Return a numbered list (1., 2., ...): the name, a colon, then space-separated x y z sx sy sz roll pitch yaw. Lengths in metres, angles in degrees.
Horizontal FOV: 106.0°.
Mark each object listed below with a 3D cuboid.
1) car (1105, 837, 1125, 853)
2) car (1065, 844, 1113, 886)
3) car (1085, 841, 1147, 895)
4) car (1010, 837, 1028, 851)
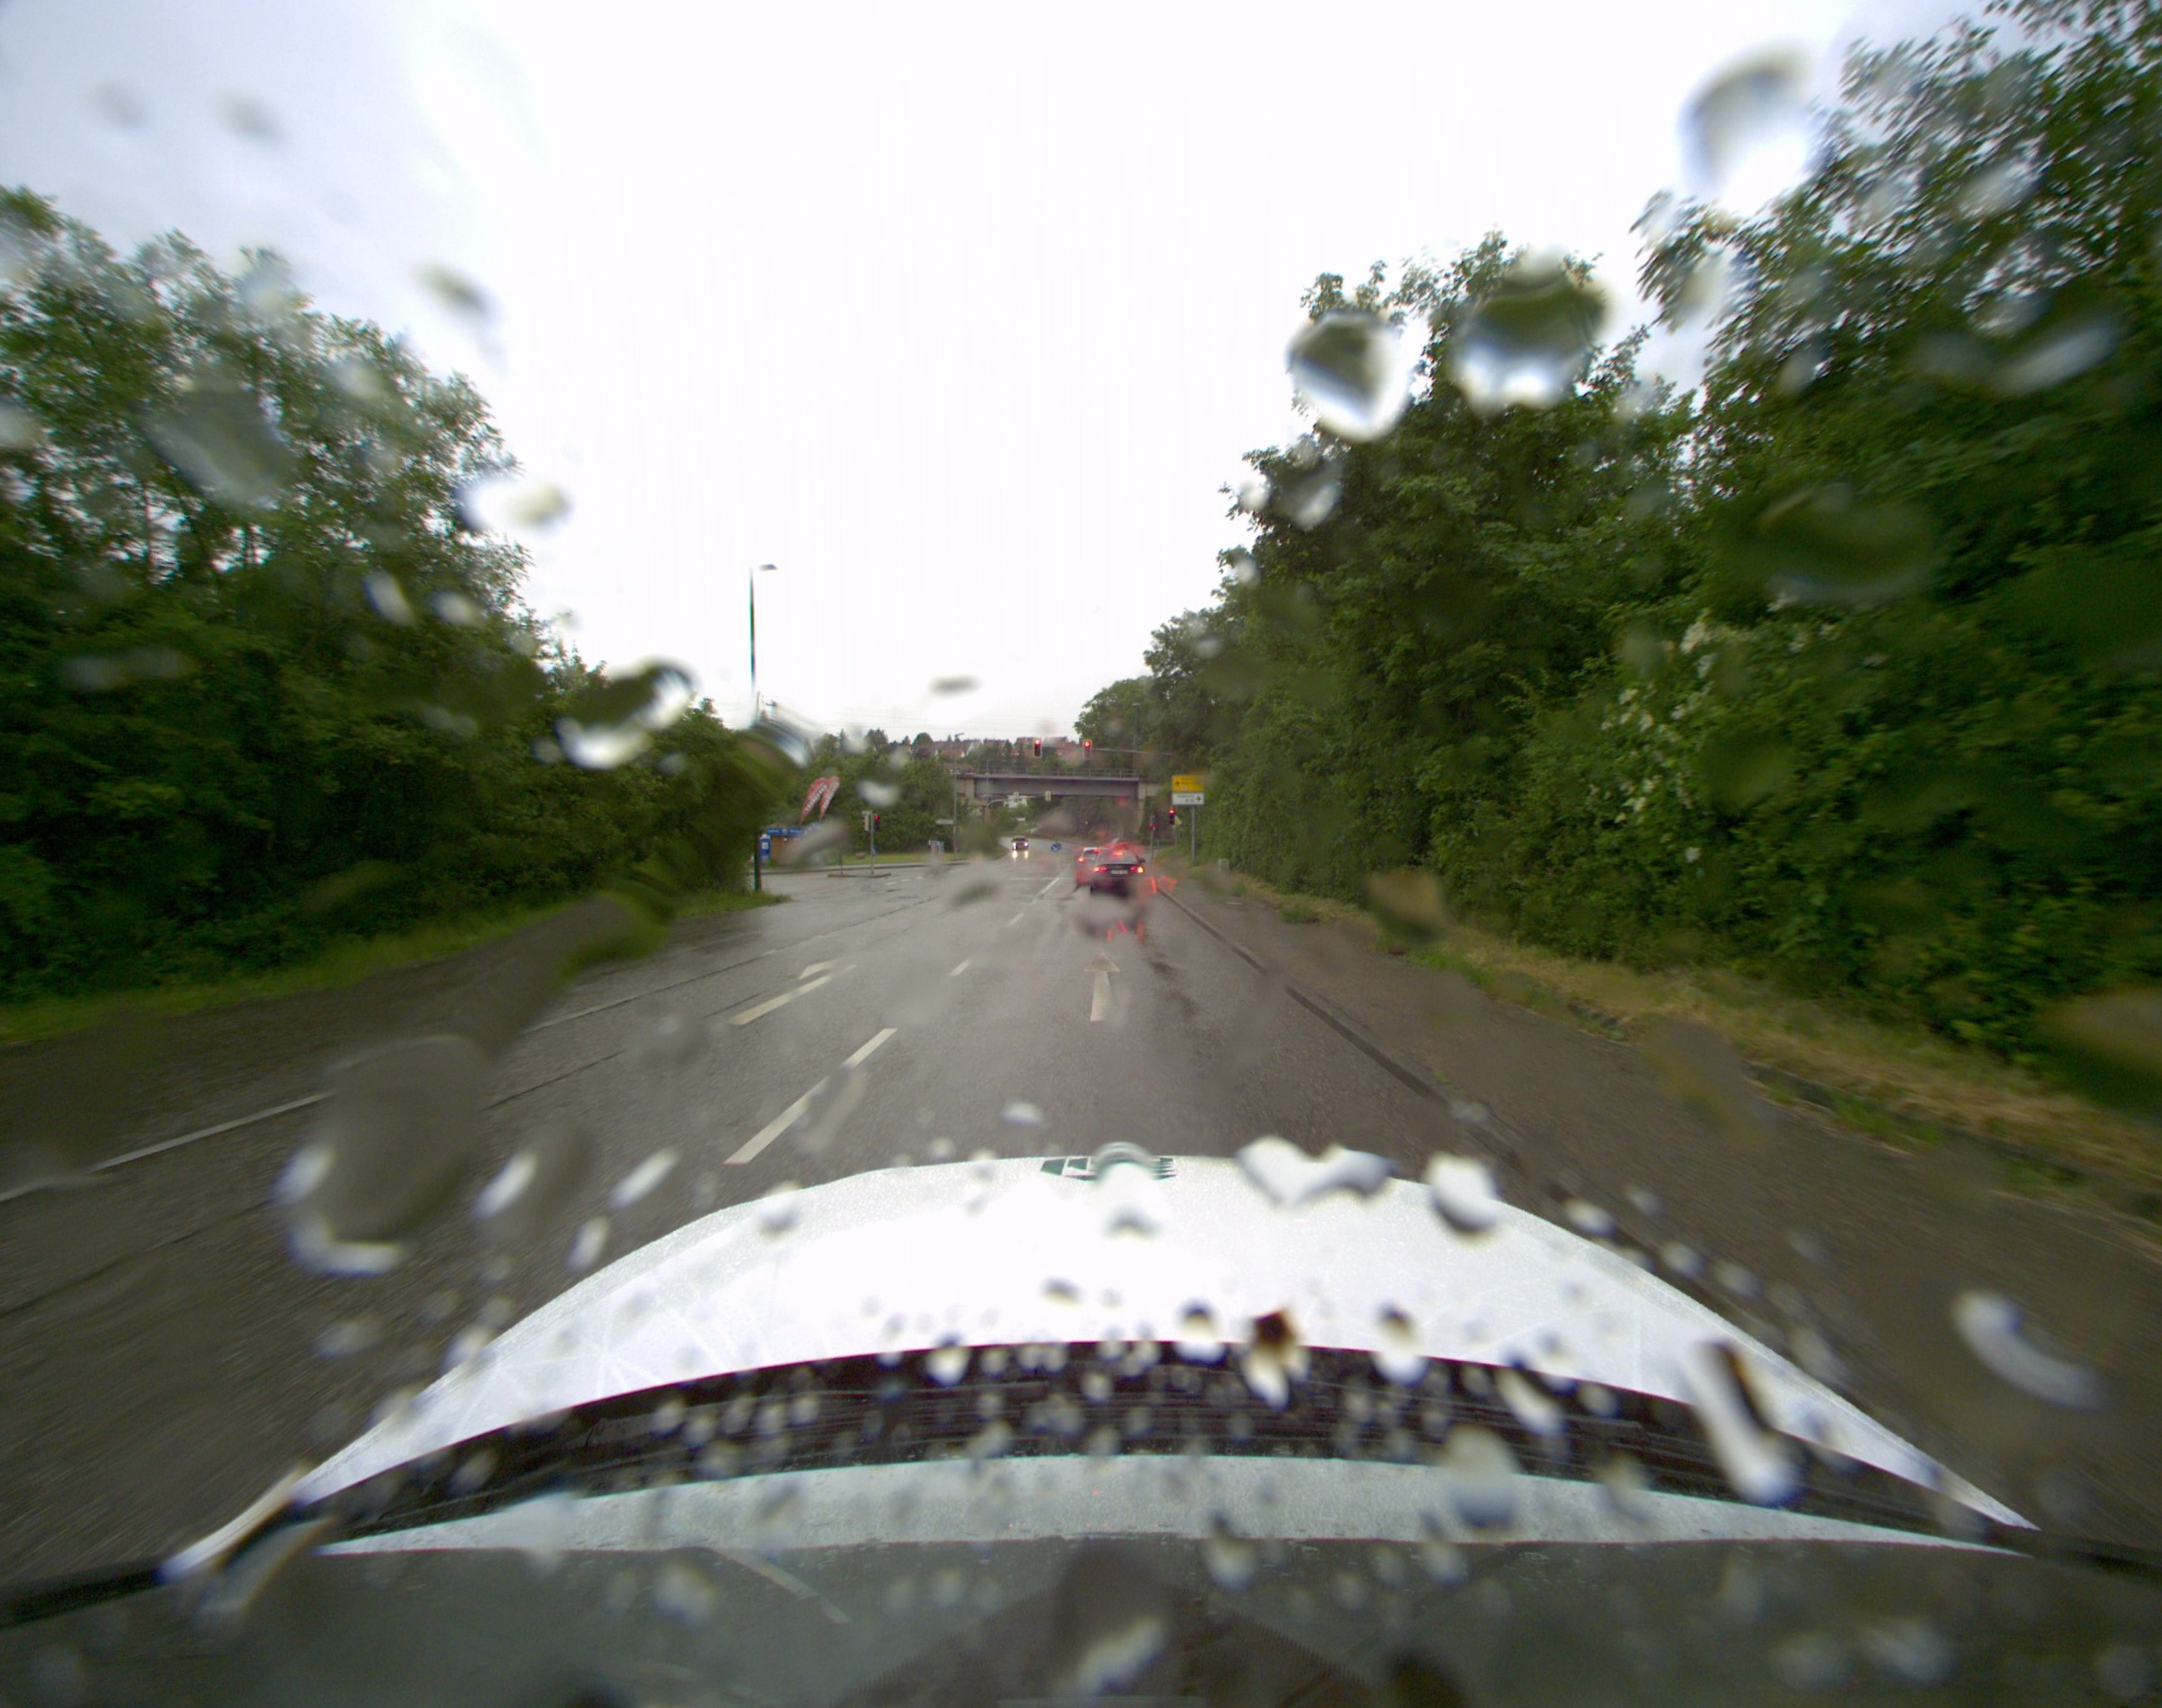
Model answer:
1. car: 3.569 -0.915 85.182 1.986 1.585 4.001 -1 0 1
2. car: 0.369 0.425 33.301 1.816 1.585 4.001 -1 0 1
3. car: 1.113 0.412 26.576 1.863 1.616 4.002 1 1 1
4. car: -7.579 -1.221 99.885 1.991 1.628 3.991 -2 1 -7
